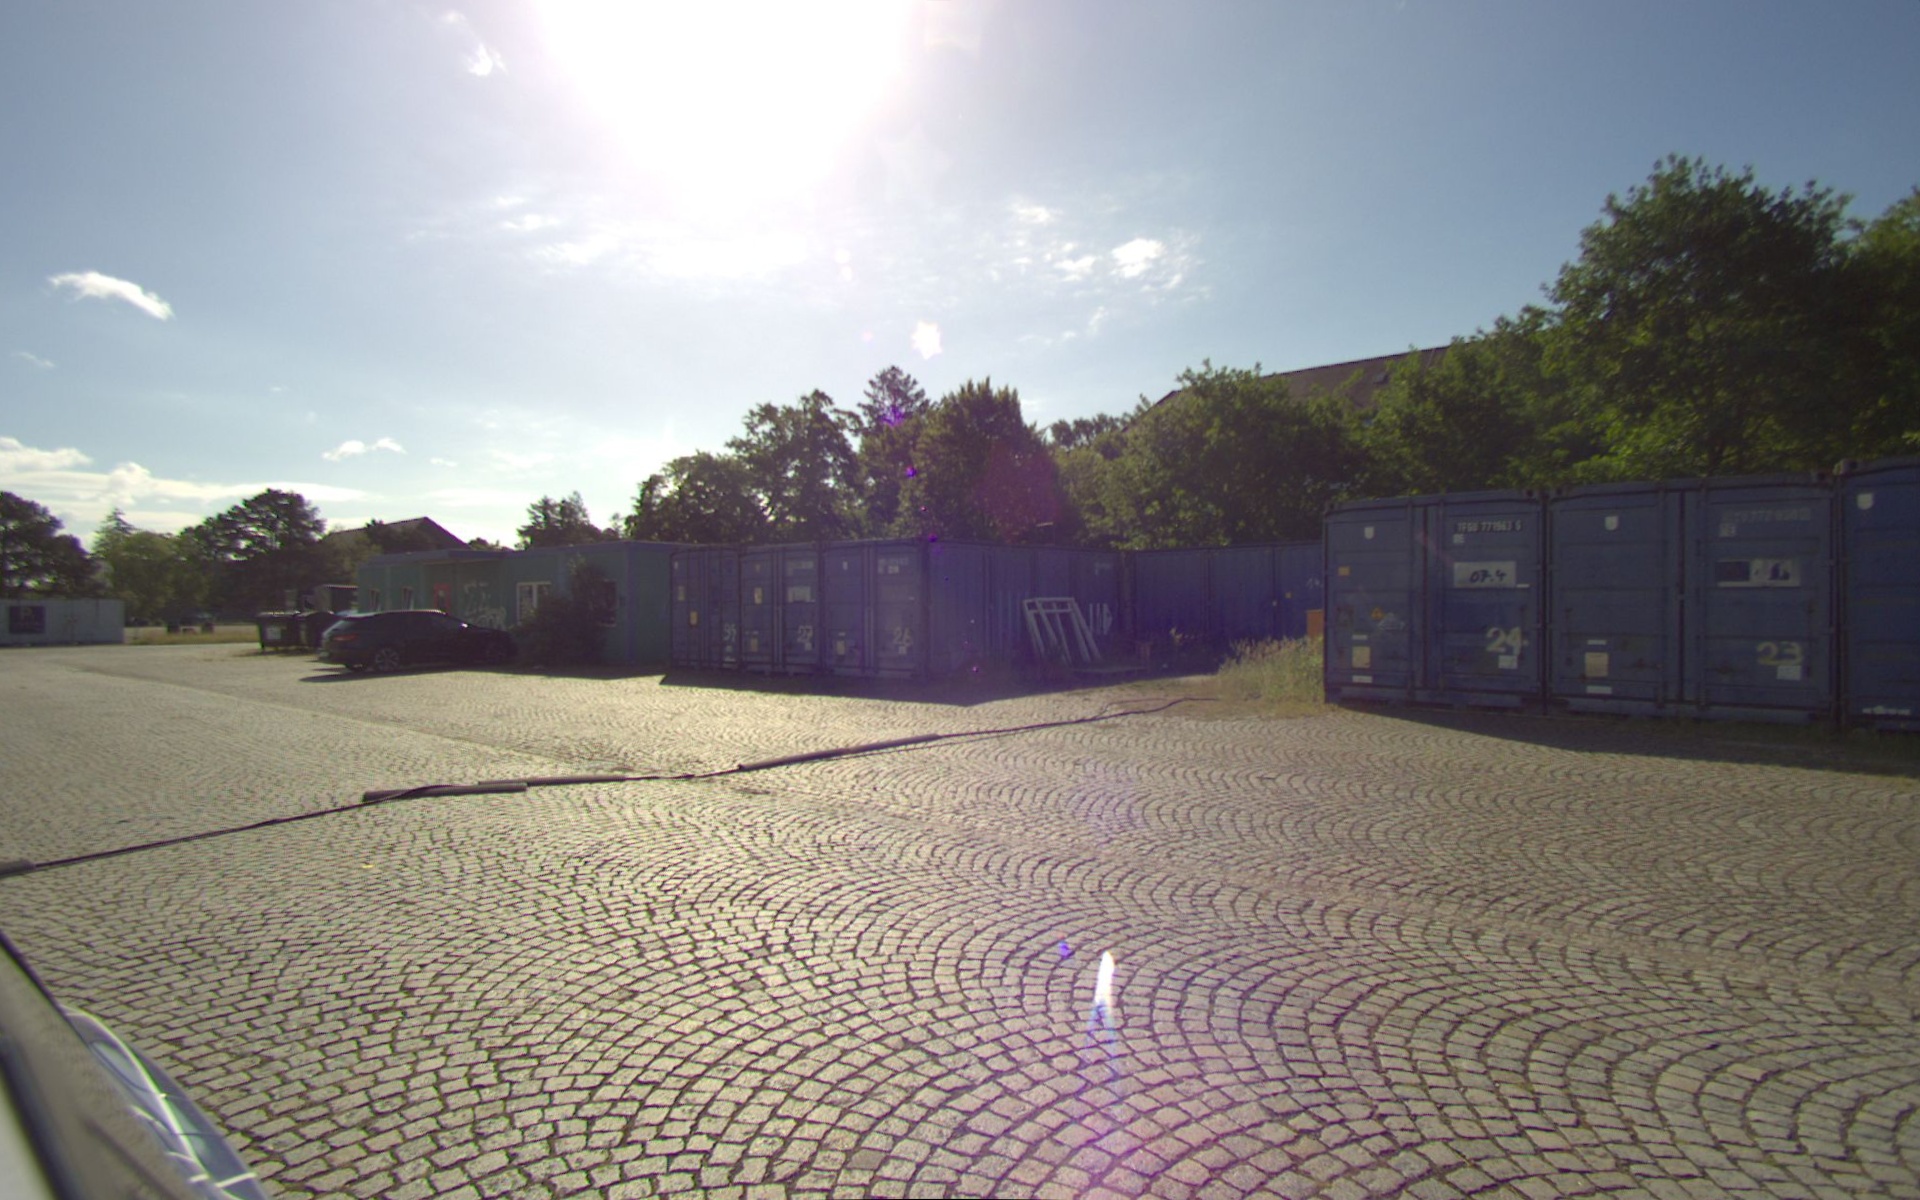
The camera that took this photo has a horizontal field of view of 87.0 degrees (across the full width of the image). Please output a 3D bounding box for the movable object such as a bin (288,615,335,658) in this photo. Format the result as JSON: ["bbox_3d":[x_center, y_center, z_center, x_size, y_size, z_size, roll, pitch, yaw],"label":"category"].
[{"bbox_3d":[-22.836,1.267,35.651,1.439,1.469,1.007,0,0,40],"label":"movable object such as a bin"}]

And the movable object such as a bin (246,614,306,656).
[{"bbox_3d":[-24.747,1.255,36.658,1.416,1.469,1.158,-1,0,-6],"label":"movable object such as a bin"}]

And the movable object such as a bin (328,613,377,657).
[{"bbox_3d":[-21.089,1.201,35.119,1.435,1.469,0.876,0,0,30],"label":"movable object such as a bin"}]

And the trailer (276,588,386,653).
[{"bbox_3d":[-25.599,0.793,41.239,2.043,2.488,3.349,0,0,41],"label":"trailer"}]

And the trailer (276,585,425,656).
[{"bbox_3d":[-23.766,0.734,39.615,1.948,2.587,4.594,0,0,36],"label":"trailer"}]

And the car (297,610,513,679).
[{"bbox_3d":[-13.426,1.007,24.686,1.929,1.460,4.210,0,0,38],"label":"car"}]
